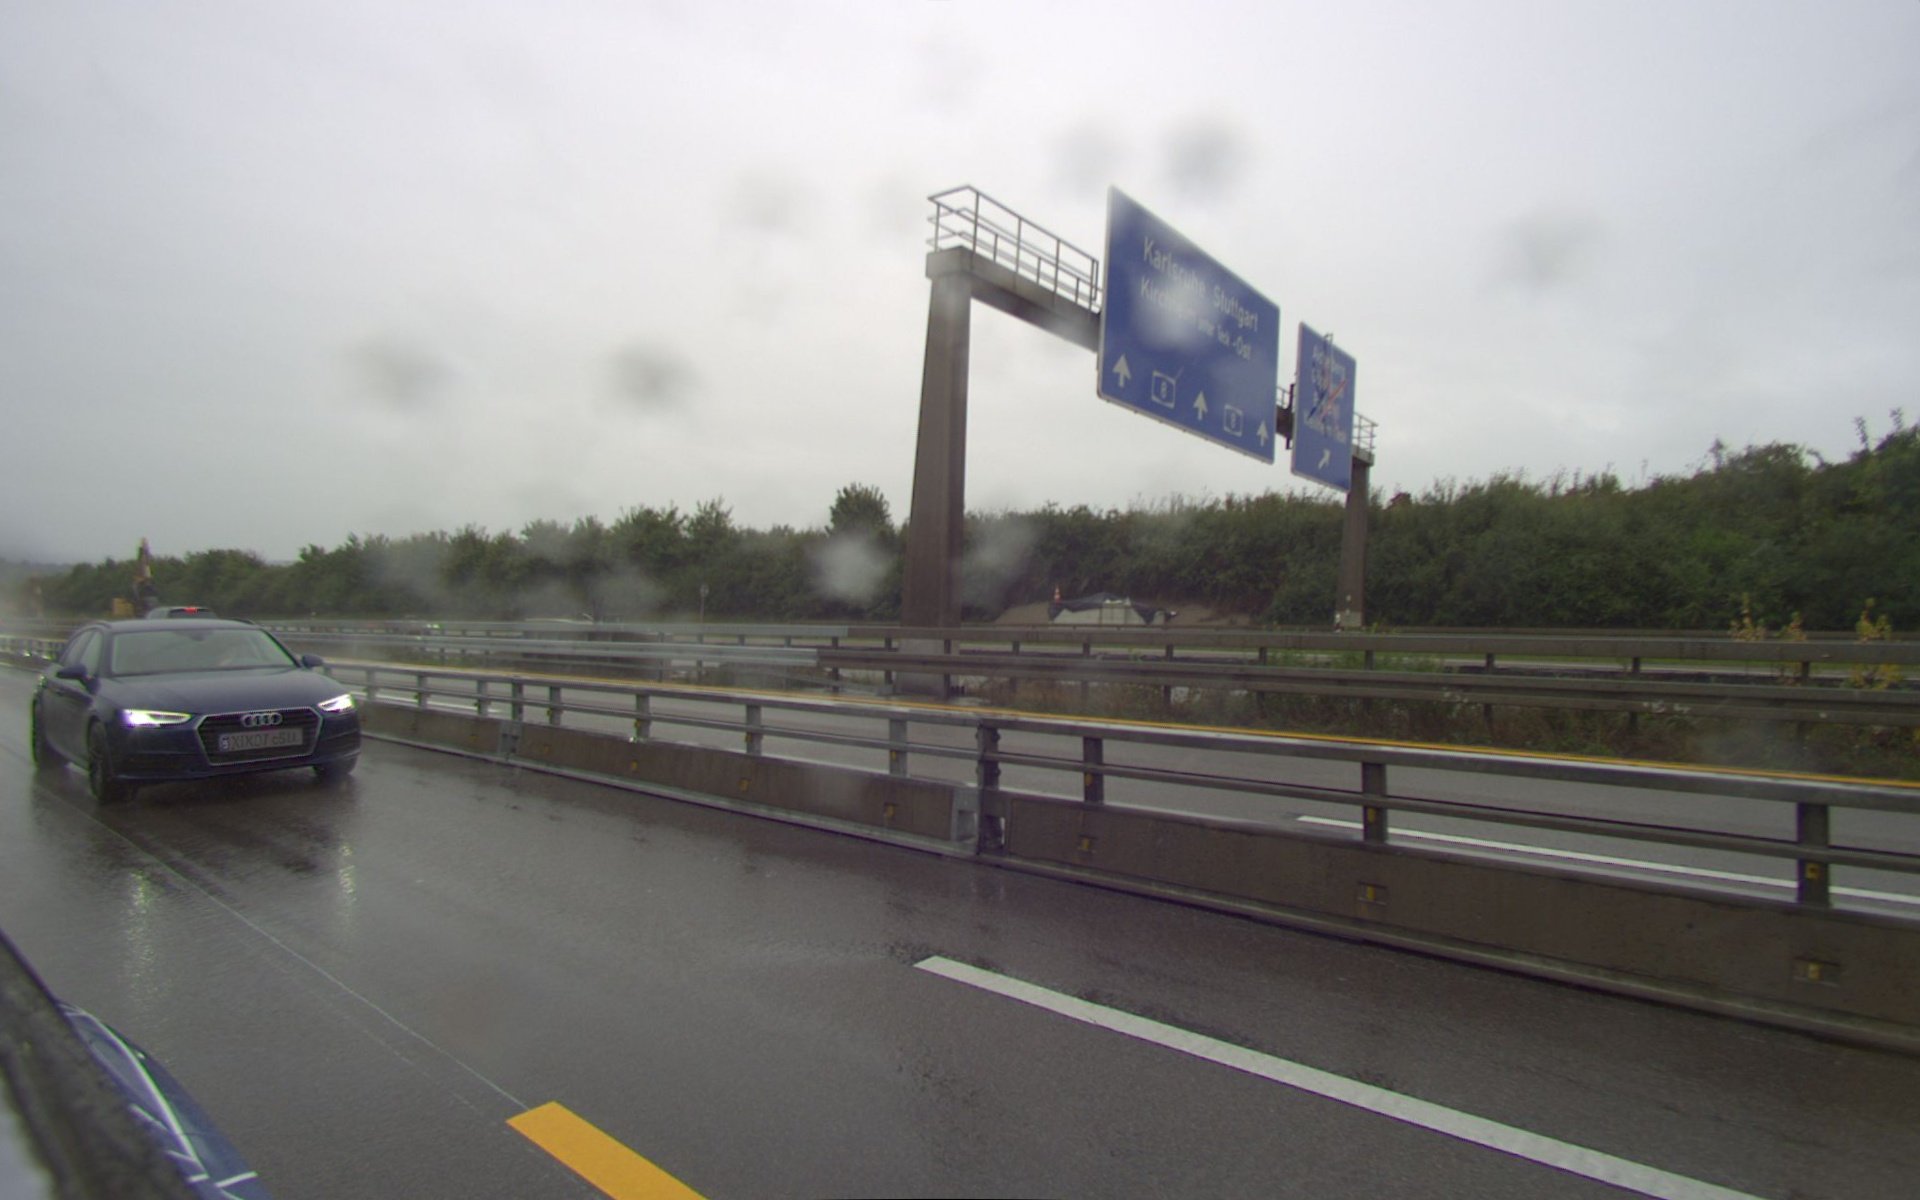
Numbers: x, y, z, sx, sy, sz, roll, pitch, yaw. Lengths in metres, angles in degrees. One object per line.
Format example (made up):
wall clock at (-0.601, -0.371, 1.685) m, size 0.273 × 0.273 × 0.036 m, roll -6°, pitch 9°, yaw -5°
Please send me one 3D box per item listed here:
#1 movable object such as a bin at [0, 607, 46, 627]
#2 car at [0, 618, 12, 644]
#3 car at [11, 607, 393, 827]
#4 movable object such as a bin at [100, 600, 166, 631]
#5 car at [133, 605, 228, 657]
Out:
movable object such as a bin at (-112.643, 1.983, 121.282) m, size 5.084 × 2.312 × 3.412 m, roll -1°, pitch 0°, yaw 32°
car at (-58.731, 1.860, 60.994) m, size 4.126 × 1.514 × 1.829 m, roll -1°, pitch 0°, yaw 40°
car at (-7.197, 0.846, 9.405) m, size 4.629 × 1.509 × 1.972 m, roll -1°, pitch 0°, yaw 42°
movable object such as a bin at (-79.234, 1.433, 96.944) m, size 6.323 × 2.819 × 3.728 m, roll -1°, pitch 0°, yaw 39°
car at (-26.308, 0.990, 34.107) m, size 4.315 × 1.616 × 1.760 m, roll -1°, pitch 0°, yaw 41°
